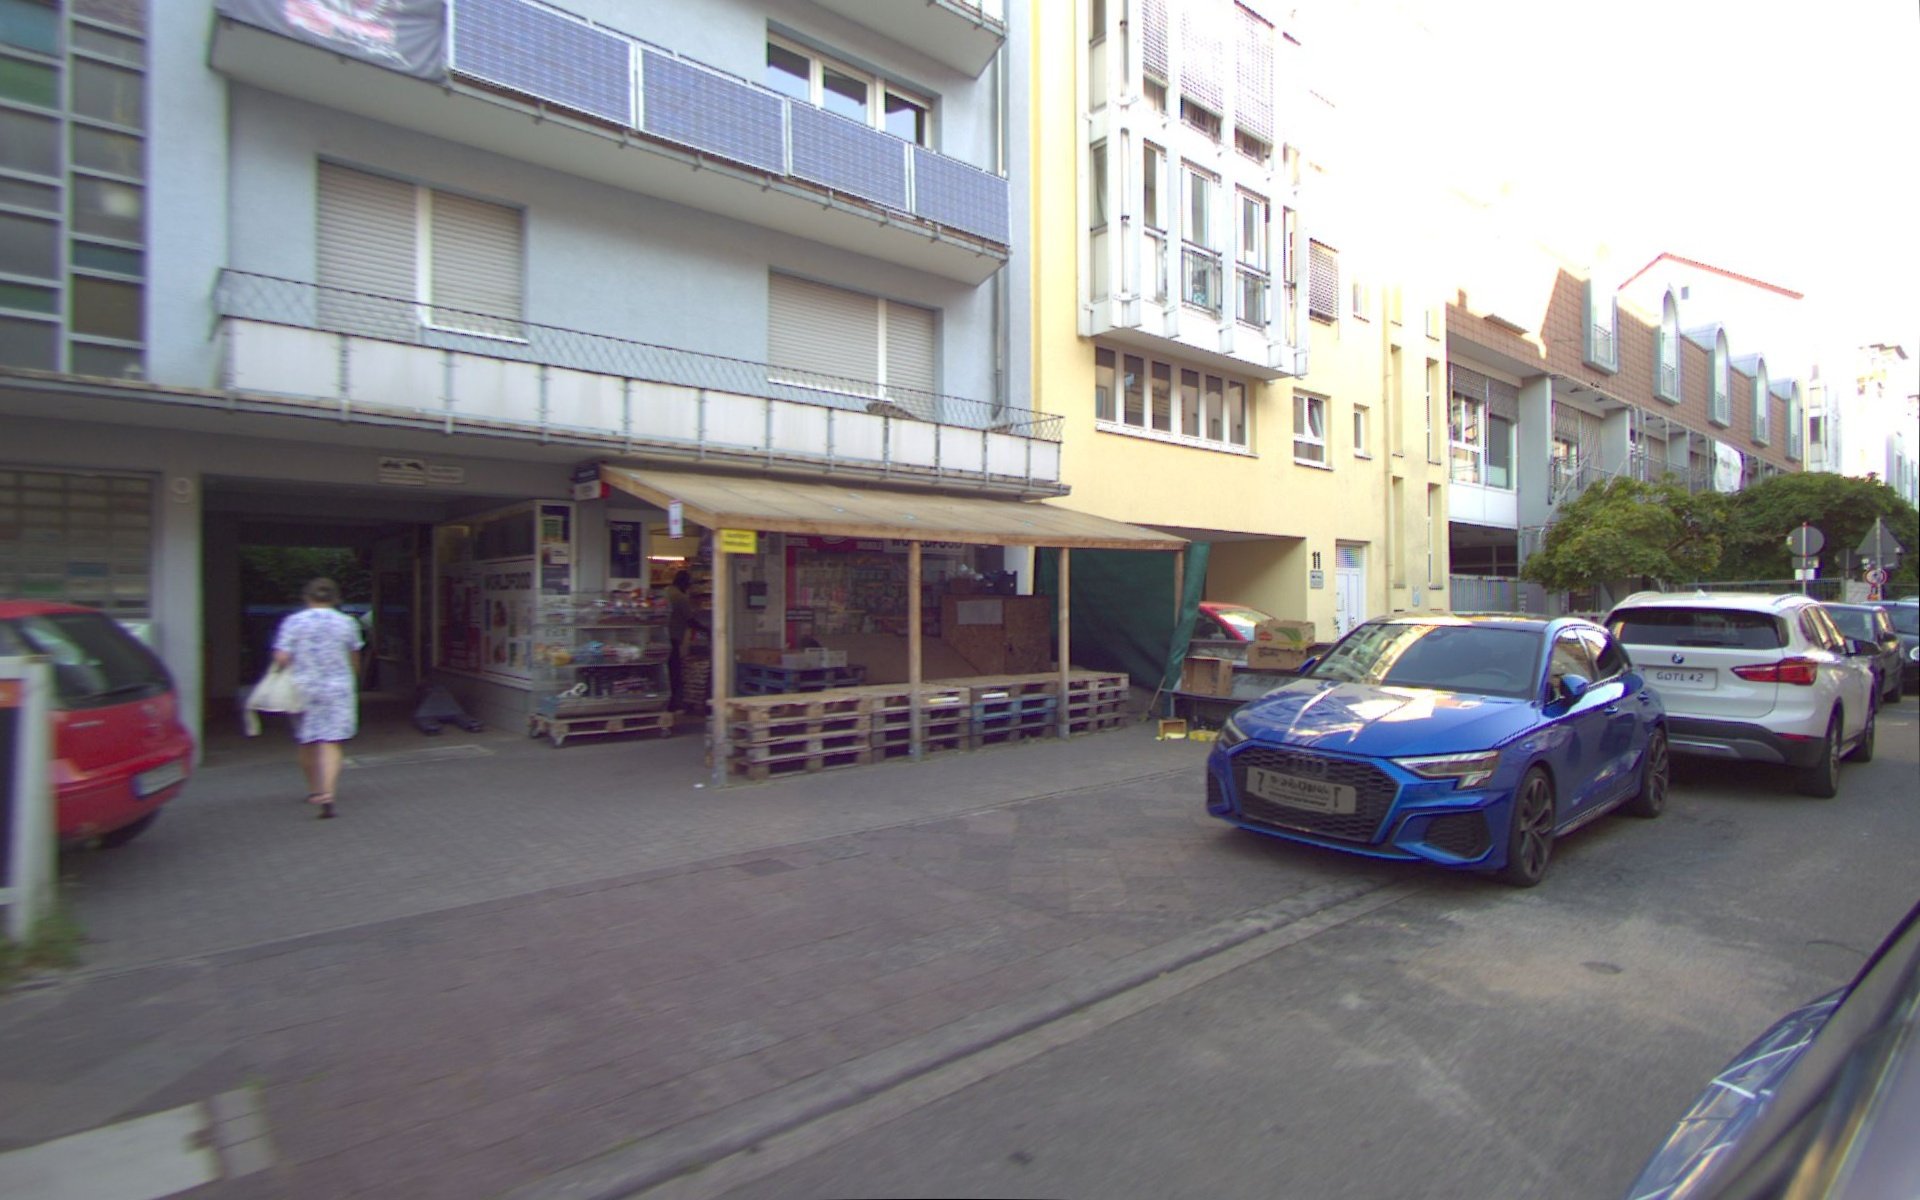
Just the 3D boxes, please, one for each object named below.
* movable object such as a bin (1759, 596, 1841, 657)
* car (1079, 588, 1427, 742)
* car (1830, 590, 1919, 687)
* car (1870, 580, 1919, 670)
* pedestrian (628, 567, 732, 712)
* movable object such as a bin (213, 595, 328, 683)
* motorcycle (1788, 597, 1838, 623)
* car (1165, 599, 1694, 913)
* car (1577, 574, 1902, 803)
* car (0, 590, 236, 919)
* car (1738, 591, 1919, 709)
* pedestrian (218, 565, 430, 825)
[{"bbox_3d":[19.619,0.622,23.672,1.241,1.394,0.795,-2,-2,24],"label":"movable object such as a bin"},{"bbox_3d":[3.519,0.745,12.723,1.665,1.628,3.900,0,-2,-41],"label":"car"},{"bbox_3d":[16.768,0.632,17.840,3.629,1.578,1.624,0,-1,-41],"label":"car"},{"bbox_3d":[20.150,0.468,20.576,4.444,1.705,1.752,0,-2,-39],"label":"car"},{"bbox_3d":[-3.505,0.483,12.680,0.845,1.724,0.940,-3,-2,45],"label":"pedestrian"},{"bbox_3d":[-13.094,0.725,19.214,1.623,1.572,1.461,0,-2,-42],"label":"movable object such as a bin"},{"bbox_3d":[41.860,0.481,49.673,2.406,1.238,0.874,-1,0,-23],"label":"motorcycle"},{"bbox_3d":[3.323,0.713,6.716,4.222,1.405,1.725,0,1,-43],"label":"car"},{"bbox_3d":[7.401,0.625,9.416,4.512,1.632,1.723,0,-1,-44],"label":"car"},{"bbox_3d":[-5.591,0.672,4.806,3.161,1.434,1.608,0,0,-18],"label":"car"},{"bbox_3d":[13.120,0.639,15.084,4.052,1.504,1.623,0,1,-41],"label":"car"},{"bbox_3d":[-4.235,0.572,6.771,0.865,1.575,0.867,2,1,27],"label":"pedestrian"}]
